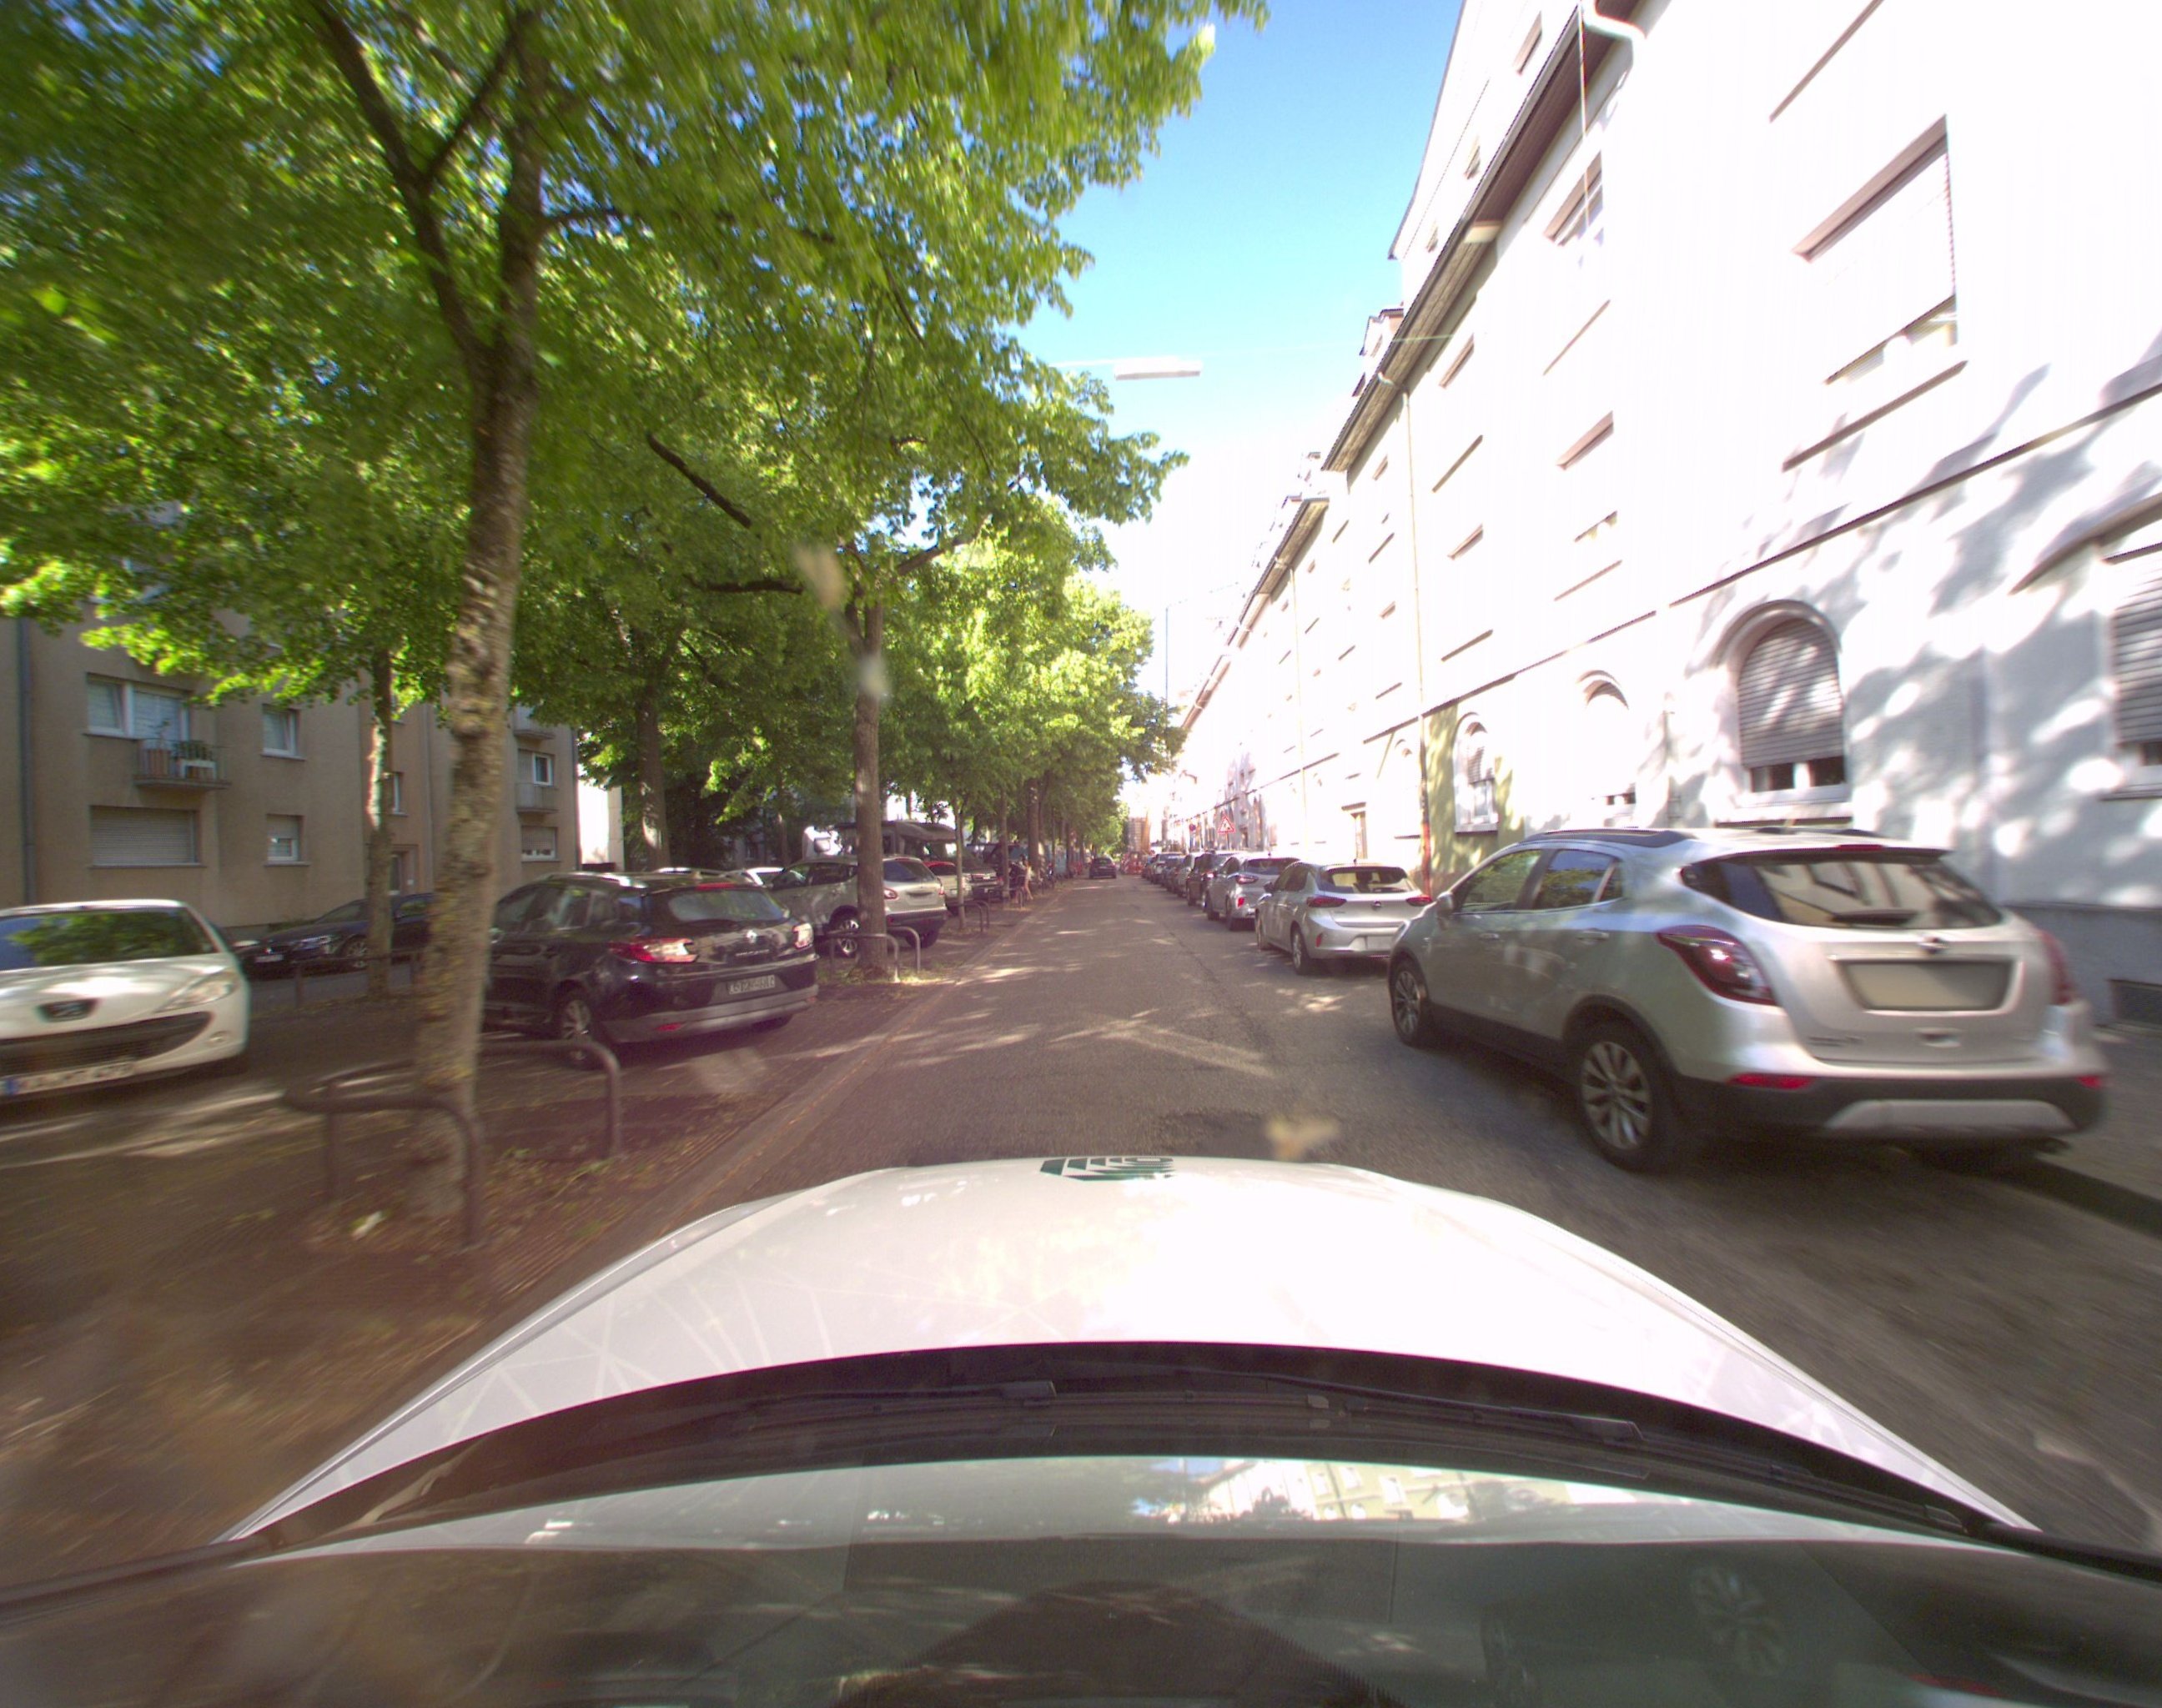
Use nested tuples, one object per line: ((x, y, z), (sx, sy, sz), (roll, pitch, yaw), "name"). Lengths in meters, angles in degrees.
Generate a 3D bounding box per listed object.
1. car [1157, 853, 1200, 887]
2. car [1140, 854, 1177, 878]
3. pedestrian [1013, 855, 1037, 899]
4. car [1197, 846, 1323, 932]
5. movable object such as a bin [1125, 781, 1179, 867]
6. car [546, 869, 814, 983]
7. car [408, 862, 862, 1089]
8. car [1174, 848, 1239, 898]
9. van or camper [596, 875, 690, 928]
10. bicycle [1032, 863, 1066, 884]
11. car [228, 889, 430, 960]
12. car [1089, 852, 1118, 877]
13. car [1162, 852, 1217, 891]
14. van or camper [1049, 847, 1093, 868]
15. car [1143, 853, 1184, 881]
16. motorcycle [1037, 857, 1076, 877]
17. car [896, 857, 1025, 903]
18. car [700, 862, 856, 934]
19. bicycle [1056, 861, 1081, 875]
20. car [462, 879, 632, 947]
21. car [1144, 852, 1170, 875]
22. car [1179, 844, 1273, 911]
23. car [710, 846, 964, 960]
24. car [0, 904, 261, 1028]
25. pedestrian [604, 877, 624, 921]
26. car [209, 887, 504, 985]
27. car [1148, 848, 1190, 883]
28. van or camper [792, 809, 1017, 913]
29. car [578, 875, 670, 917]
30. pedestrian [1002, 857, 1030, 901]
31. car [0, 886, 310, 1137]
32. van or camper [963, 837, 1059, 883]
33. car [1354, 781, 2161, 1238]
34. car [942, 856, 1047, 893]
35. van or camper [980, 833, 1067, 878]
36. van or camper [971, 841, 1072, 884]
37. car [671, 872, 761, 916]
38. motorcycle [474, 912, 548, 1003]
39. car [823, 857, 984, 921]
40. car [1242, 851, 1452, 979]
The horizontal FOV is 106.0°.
((4.458, 0.681, 37.513), (1.611, 1.413, 3.790), (-2, 0, 2), "car")
((4.994, 0.745, 52.843), (1.987, 1.409, 4.501), (-2, 0, 1), "car")
((-1.927, 0.782, 28.040), (0.609, 1.456, 0.522), (-3, 0, 25), "pedestrian")
((3.647, 0.650, 17.330), (1.717, 1.528, 4.157), (-2, 0, 0), "car")
((5.785, -2.355, 66.184), (3.444, 6.759, 2.383), (-2, -1, 34), "movable object such as a bin")
((-6.049, 0.944, 12.171), (3.990, 1.403, 1.835), (-1, 0, 34), "car")
((-4.135, 0.875, 7.293), (4.366, 1.462, 1.727), (-2, -1, 34), "car")
((4.187, 0.599, 27.616), (1.625, 1.534, 3.592), (-2, 0, 0), "car")
((-14.722, 1.568, 27.528), (1.590, 1.555, 2.698), (-3, 0, 2), "van or camper")
((-1.743, 1.059, 44.550), (1.729, 1.006, 0.507), (-3, 0, -29), "bicycle")
((-18.909, 1.717, 20.718), (1.618, 1.386, 3.613), (-3, 0, 2), "car")
((1.487, 0.667, 54.905), (1.791, 1.503, 3.586), (-3, 0, 1), "car")
((4.225, 0.648, 32.345), (1.625, 1.413, 4.089), (-2, 0, 0), "car")
((-1.309, 0.492, 107.224), (5.280, 2.474, 2.309), (-3, 0, 34), "van or camper")
((4.857, 0.730, 48.401), (1.786, 1.523, 3.960), (-2, 0, -3), "car")
((-1.694, 0.927, 56.425), (2.534, 1.258, 0.765), (-2, 0, 9), "motorcycle")
((-4.248, 0.923, 28.594), (4.274, 1.424, 1.685), (-2, 0, 28), "car")
((-7.312, 1.042, 19.579), (3.498, 1.507, 1.769), (-3, 0, 35), "car")
((-0.937, 1.095, 62.860), (1.879, 1.006, 0.433), (-3, 0, 25), "bicycle")
((-14.718, 1.562, 22.786), (1.757, 1.508, 4.311), (-3, 0, 2), "car")
((5.359, 0.637, 57.915), (1.586, 1.530, 2.781), (-2, 0, 1), "car")
((3.897, 0.593, 22.580), (1.717, 1.596, 4.156), (-2, 0, -1), "car")
((-4.213, 0.798, 13.923), (4.094, 1.679, 1.770), (-2, 0, 30), "car")
((-15.044, 1.606, 11.936), (1.885, 1.418, 4.002), (-2, 0, 2), "car")
((-19.987, 1.902, 34.845), (0.497, 1.826, 0.463), (-3, 0, 1), "pedestrian")
((-14.885, 1.591, 17.186), (1.986, 1.508, 4.535), (-3, 0, 2), "car")
((4.610, 0.559, 43.074), (1.809, 1.674, 4.675), (-2, 0, 2), "car")
((-5.776, 0.285, 26.212), (7.157, 2.929, 2.328), (-3, 0, 28), "van or camper")
((-18.927, 1.706, 33.882), (1.618, 1.482, 3.613), (-3, 0, 2), "car")
((-2.192, 0.840, 27.493), (0.703, 1.456, 0.600), (-3, 0, 25), "pedestrian")
((-7.722, 1.046, 6.446), (3.586, 1.455, 1.830), (-2, 0, 38), "car")
((-4.540, 0.404, 52.551), (5.811, 2.637, 2.269), (-3, 0, 31), "van or camper")
((3.351, 0.591, 5.228), (1.717, 1.686, 4.157), (-2, 0, -1), "car")
((-3.822, 0.922, 35.668), (4.431, 1.443, 1.744), (-2, 0, 34), "car")
((-4.660, 0.146, 65.670), (6.592, 3.240, 2.511), (-3, 0, 30), "van or camper")
((-3.515, 0.513, 48.275), (5.447, 2.275, 2.234), (-3, 0, 25), "van or camper")
((-14.264, 1.525, 32.042), (1.657, 1.499, 3.772), (-2, 0, 2), "car")
((-7.384, 1.282, 10.511), (0.693, 0.957, 1.897), (-2, 0, -37), "motorcycle")
((-4.761, 0.947, 21.722), (3.948, 1.507, 1.768), (-3, 0, 30), "car")
((3.544, 0.717, 11.674), (1.716, 1.432, 4.159), (-2, 0, 2), "car")
